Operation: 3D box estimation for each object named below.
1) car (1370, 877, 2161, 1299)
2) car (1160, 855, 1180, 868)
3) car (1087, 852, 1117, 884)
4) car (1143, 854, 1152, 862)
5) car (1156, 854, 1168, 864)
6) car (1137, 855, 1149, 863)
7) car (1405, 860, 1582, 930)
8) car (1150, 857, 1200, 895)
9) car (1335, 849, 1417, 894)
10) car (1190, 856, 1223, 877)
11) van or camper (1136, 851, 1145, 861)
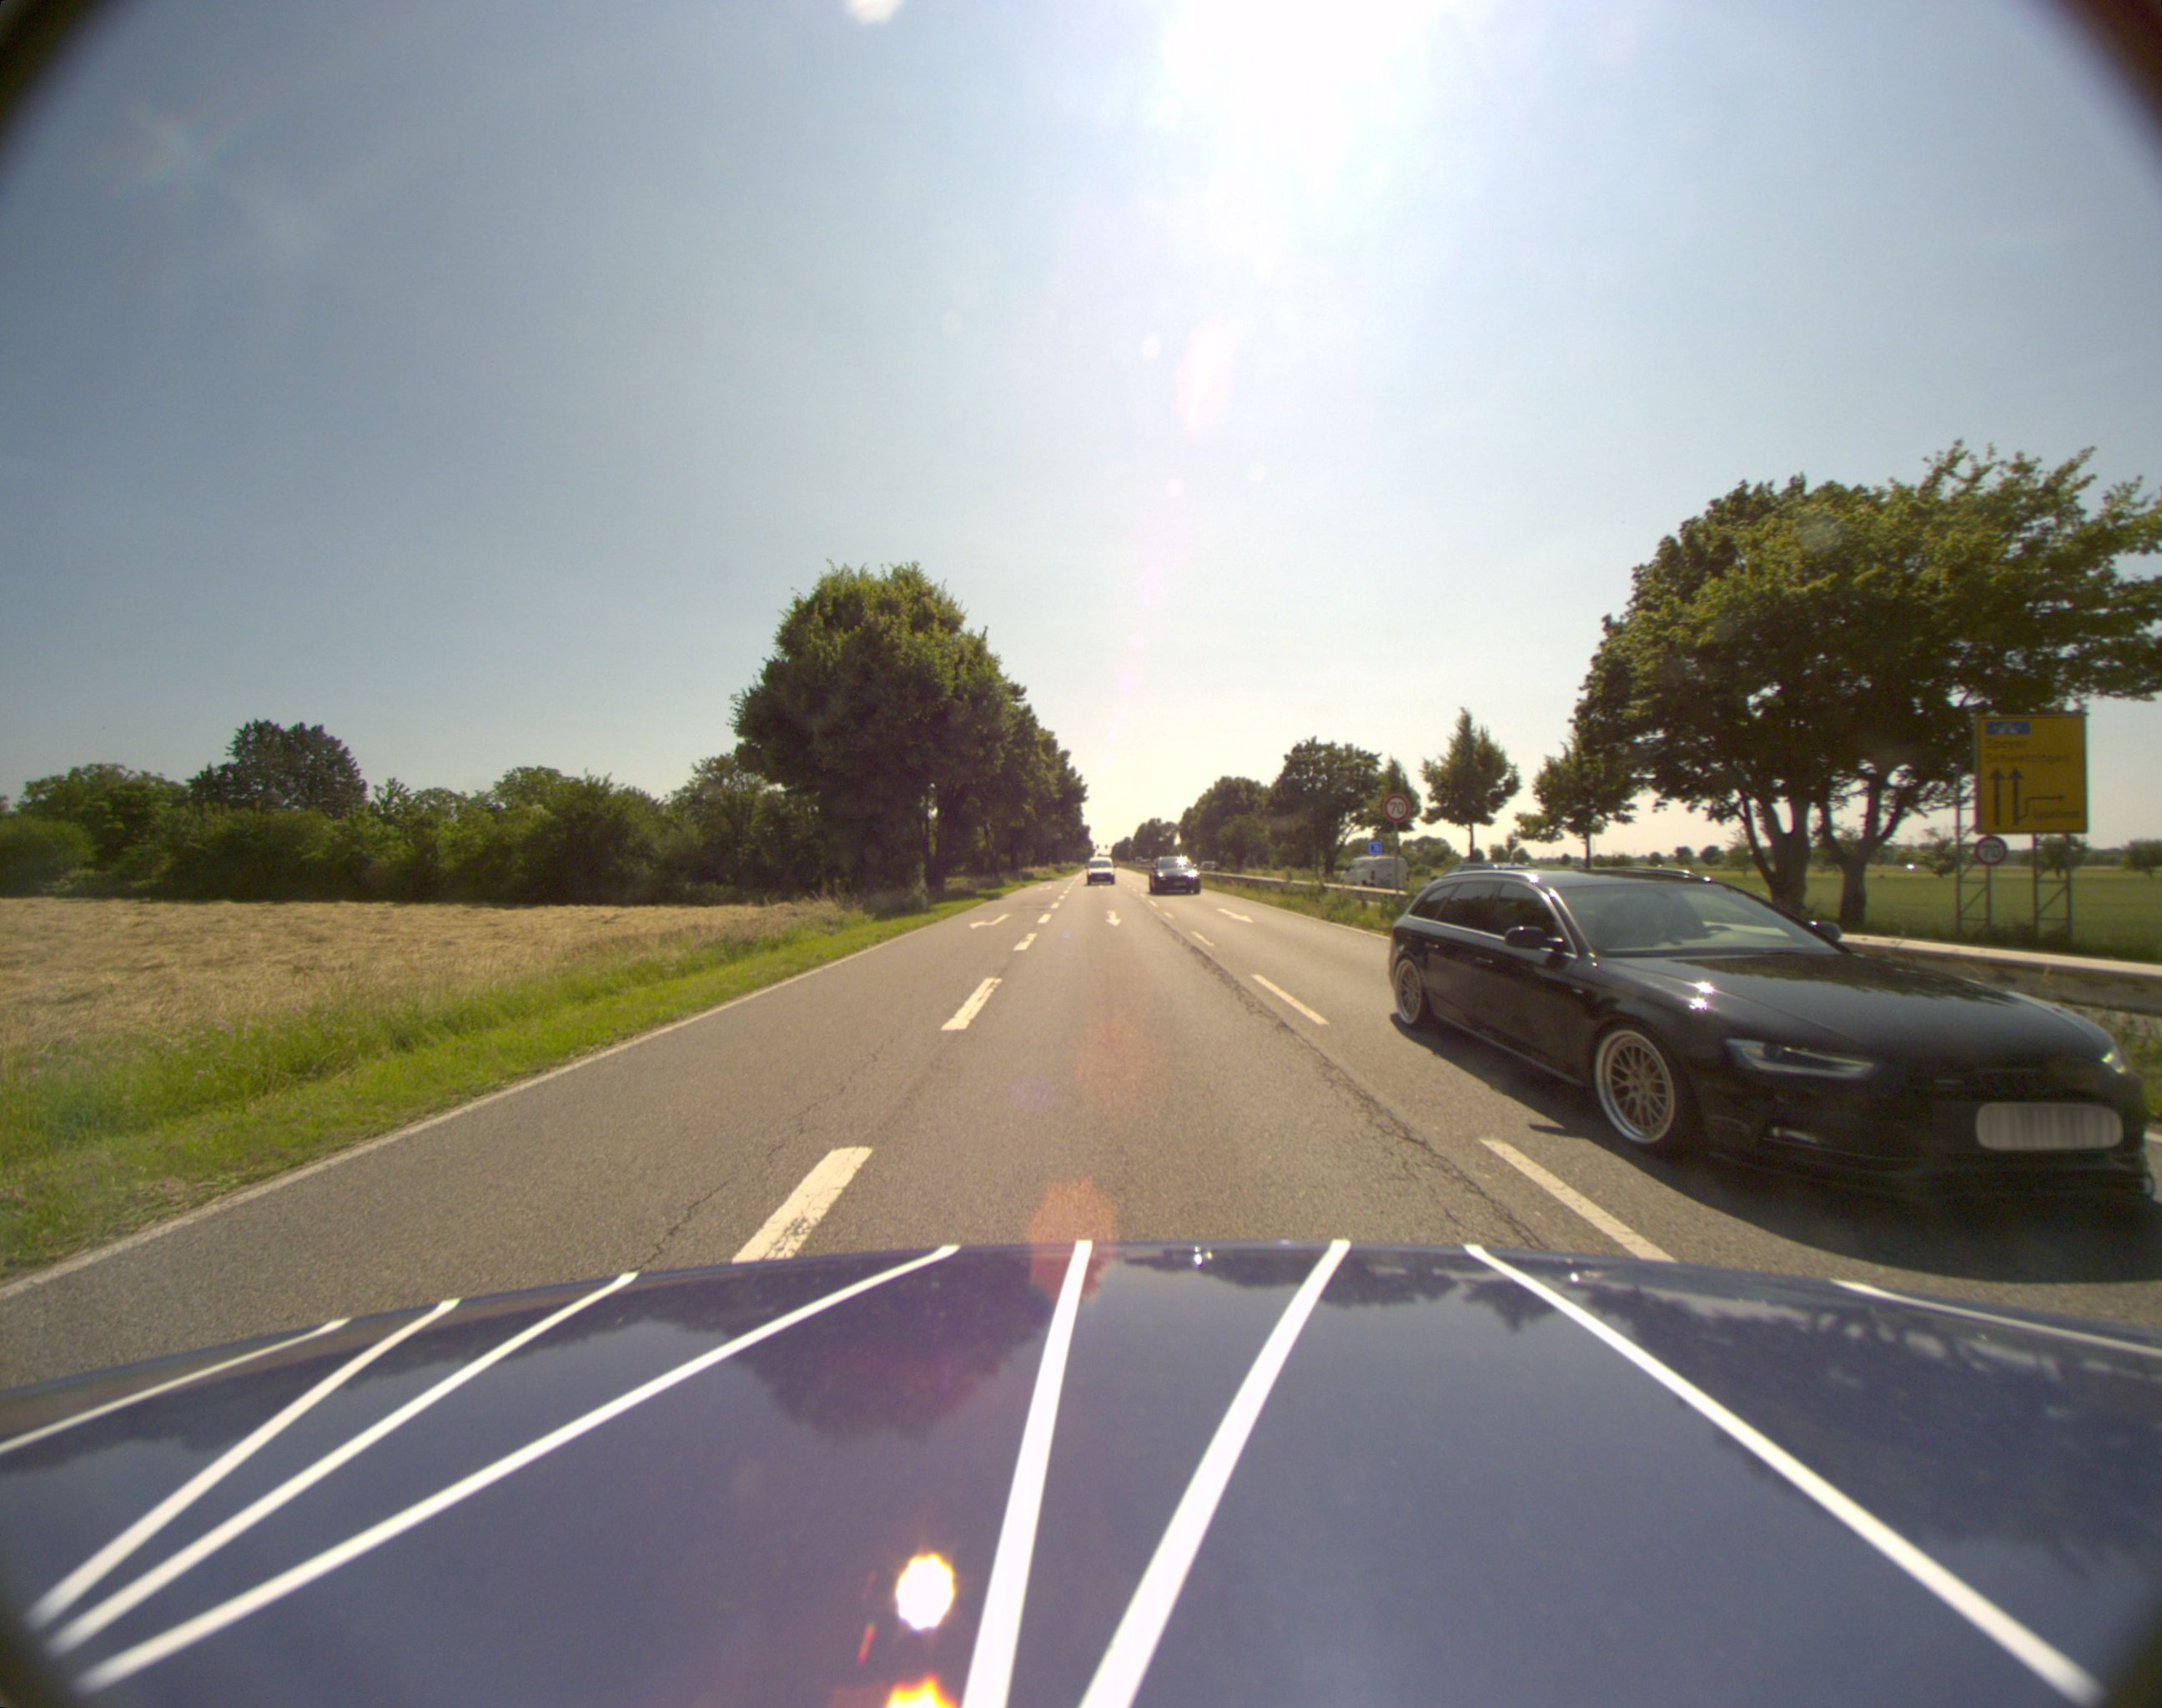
[{"bbox_3d":[3.600,0.927,5.002,1.744,1.372,4.455,-2,0,1],"label":"car"},{"bbox_3d":[11.307,0.945,96.867,1.998,1.653,4.480,0,0,0],"label":"car"},{"bbox_3d":[1.308,0.879,48.272,1.777,1.863,4.581,-2,0,1],"label":"car"},{"bbox_3d":[16.775,1.054,191.619,2.043,2.002,4.532,0,0,0],"label":"car"},{"bbox_3d":[17.205,1.060,160.818,1.998,1.949,4.927,0,0,0],"label":"car"},{"bbox_3d":[12.213,1.065,150.624,1.998,1.547,4.481,0,0,0],"label":"car"},{"bbox_3d":[9.767,0.900,18.472,1.884,1.446,4.504,0,0,0],"label":"car"},{"bbox_3d":[4.074,0.924,33.538,1.860,1.507,4.101,-1,0,3],"label":"car"},{"bbox_3d":[13.675,0.780,35.603,1.998,1.940,4.830,0,0,0],"label":"car"},{"bbox_3d":[10.272,1.002,62.352,1.998,1.594,4.480,0,0,0],"label":"car"},{"bbox_3d":[17.488,0.616,223.929,2.391,2.931,7.092,0,0,1],"label":"van or camper"}]
